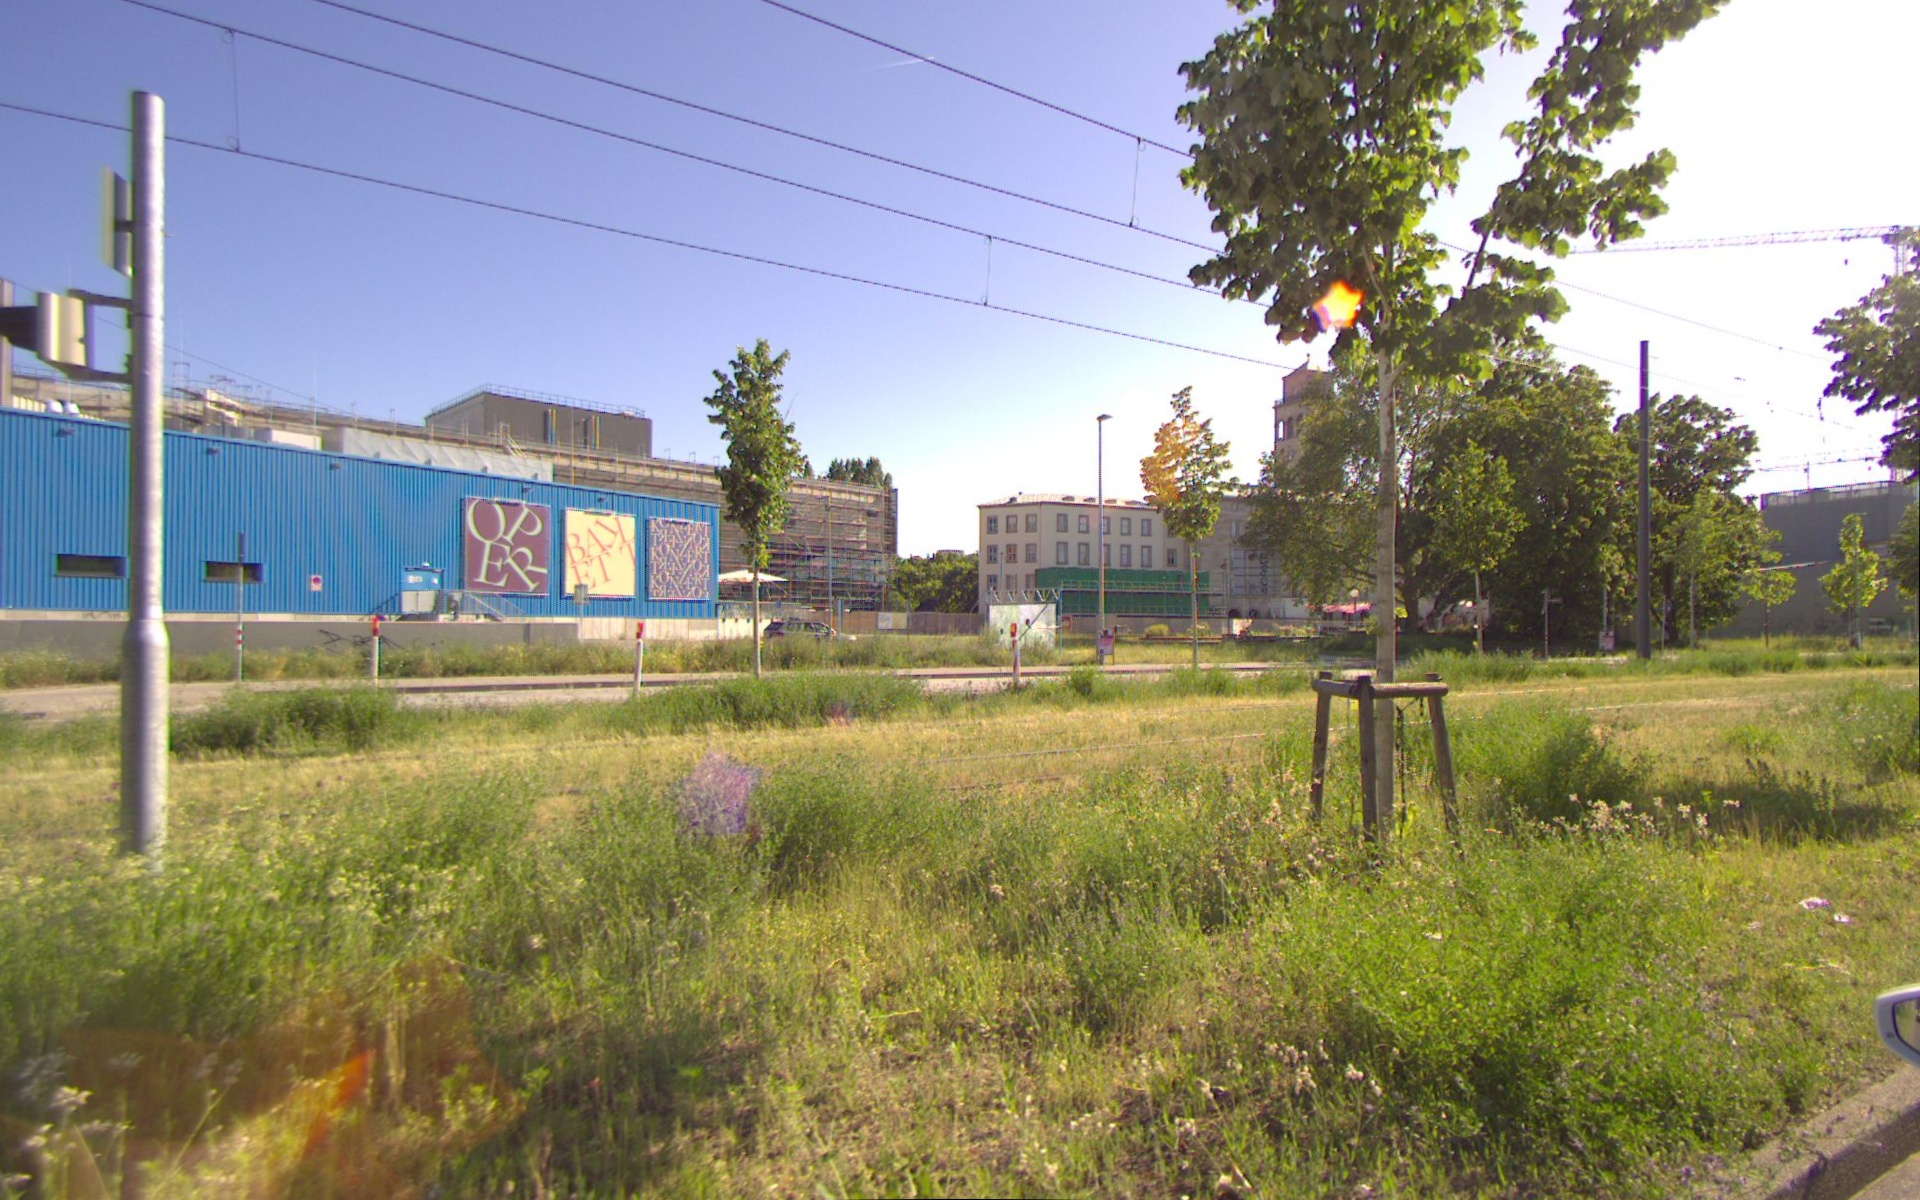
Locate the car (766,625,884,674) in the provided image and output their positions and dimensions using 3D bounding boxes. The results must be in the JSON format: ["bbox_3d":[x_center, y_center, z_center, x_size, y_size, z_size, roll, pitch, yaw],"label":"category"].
[{"bbox_3d":[-4.753,1.740,35.413,3.813,1.556,1.550,2,0,-30],"label":"car"}]
